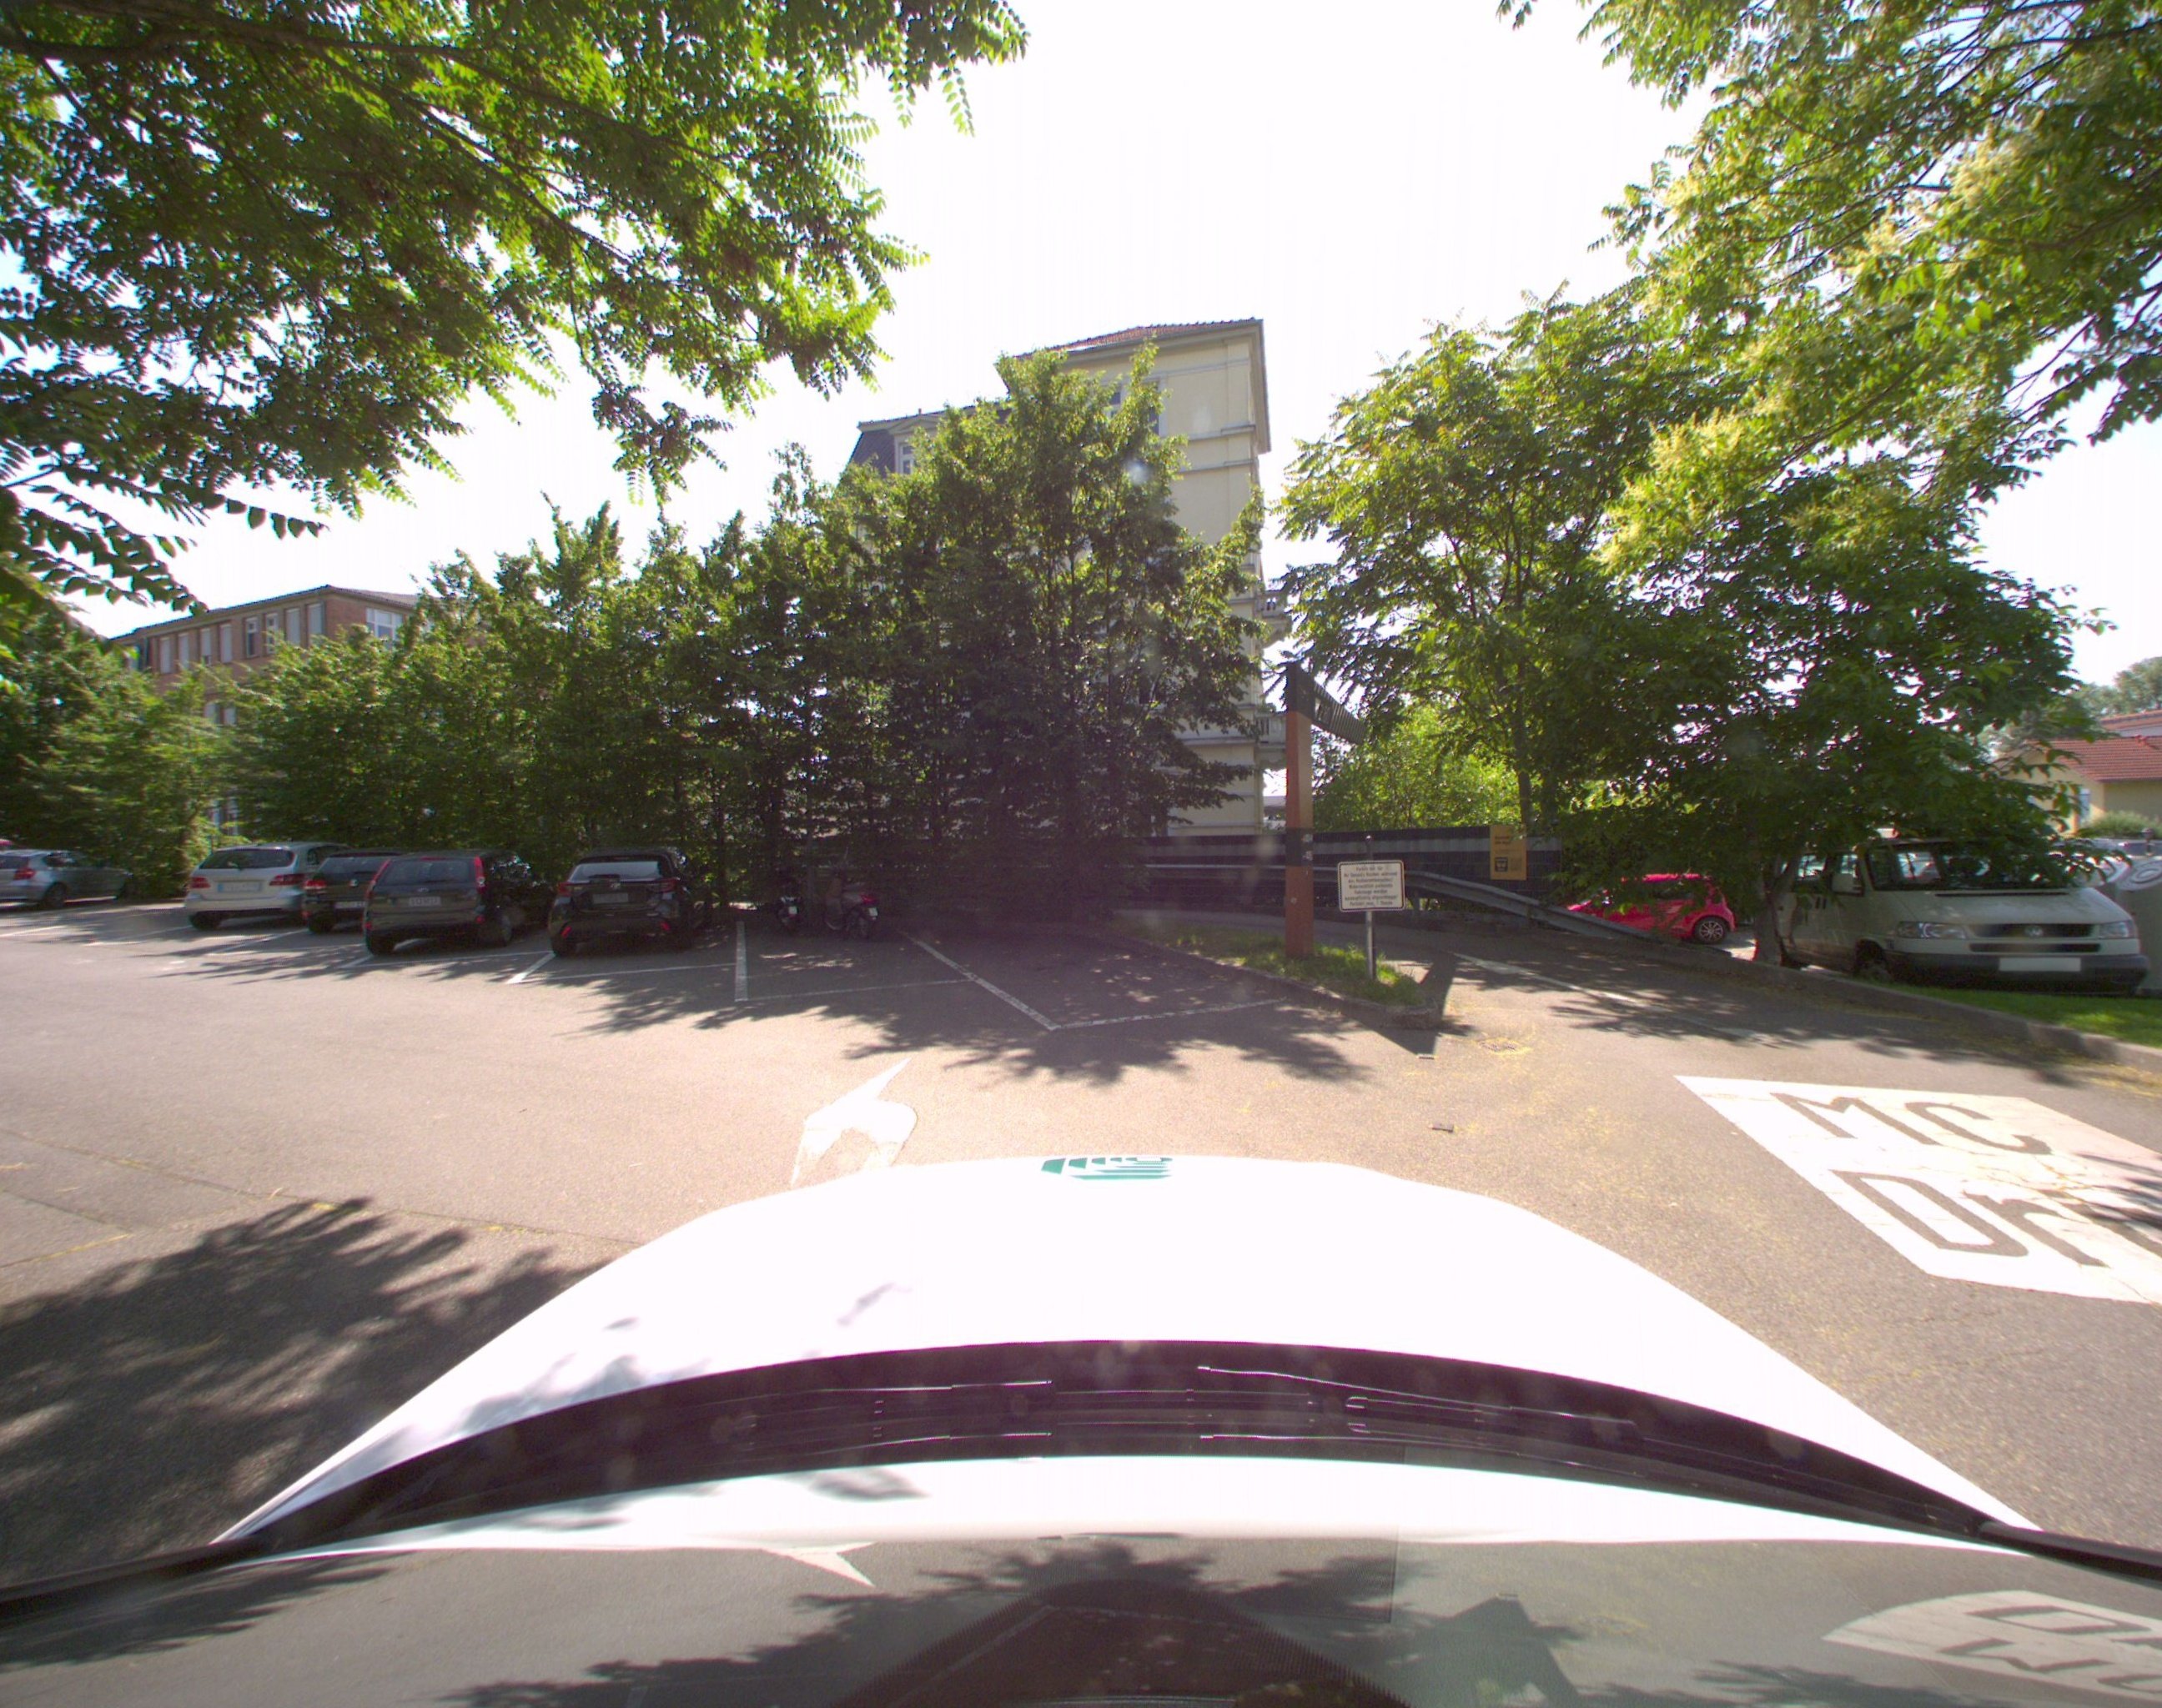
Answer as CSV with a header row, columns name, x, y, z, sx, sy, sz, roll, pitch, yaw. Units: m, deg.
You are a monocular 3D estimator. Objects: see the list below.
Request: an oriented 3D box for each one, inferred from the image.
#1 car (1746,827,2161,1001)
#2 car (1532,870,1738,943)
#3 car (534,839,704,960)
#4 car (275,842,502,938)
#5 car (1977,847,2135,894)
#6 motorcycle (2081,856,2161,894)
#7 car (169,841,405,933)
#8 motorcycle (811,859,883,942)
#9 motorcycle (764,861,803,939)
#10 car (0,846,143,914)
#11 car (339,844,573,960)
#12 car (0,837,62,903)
name,x,y,z,sx,sy,sz,roll,pitch,yaw
car,10.135,0.461,10.061,1.933,1.583,5.062,1,2,27
car,11.746,1.105,17.493,3.377,1.378,1.493,-1,2,17
car,-7.028,0.564,12.784,1.661,1.469,3.878,-2,3,-20
car,-13.126,0.571,15.789,1.772,1.469,3.980,-2,3,-16
car,36.414,0.559,30.590,1.978,1.585,4.019,1,1,18
motorcycle,35.089,0.691,26.874,2.694,1.226,1.002,0,1,8
car,-15.971,0.553,16.700,1.773,1.571,3.977,-1,2,-17
motorcycle,-3.624,0.675,12.534,0.572,1.169,1.589,-2,1,-34
motorcycle,-4.843,0.703,13.231,0.475,1.140,1.593,-2,1,-24
car,-25.970,0.606,20.359,1.777,1.475,3.968,-2,2,-25
car,-9.884,0.633,13.284,1.703,1.453,3.977,-2,2,-18
car,-29.370,0.475,21.200,1.777,1.734,3.969,-3,3,-24
